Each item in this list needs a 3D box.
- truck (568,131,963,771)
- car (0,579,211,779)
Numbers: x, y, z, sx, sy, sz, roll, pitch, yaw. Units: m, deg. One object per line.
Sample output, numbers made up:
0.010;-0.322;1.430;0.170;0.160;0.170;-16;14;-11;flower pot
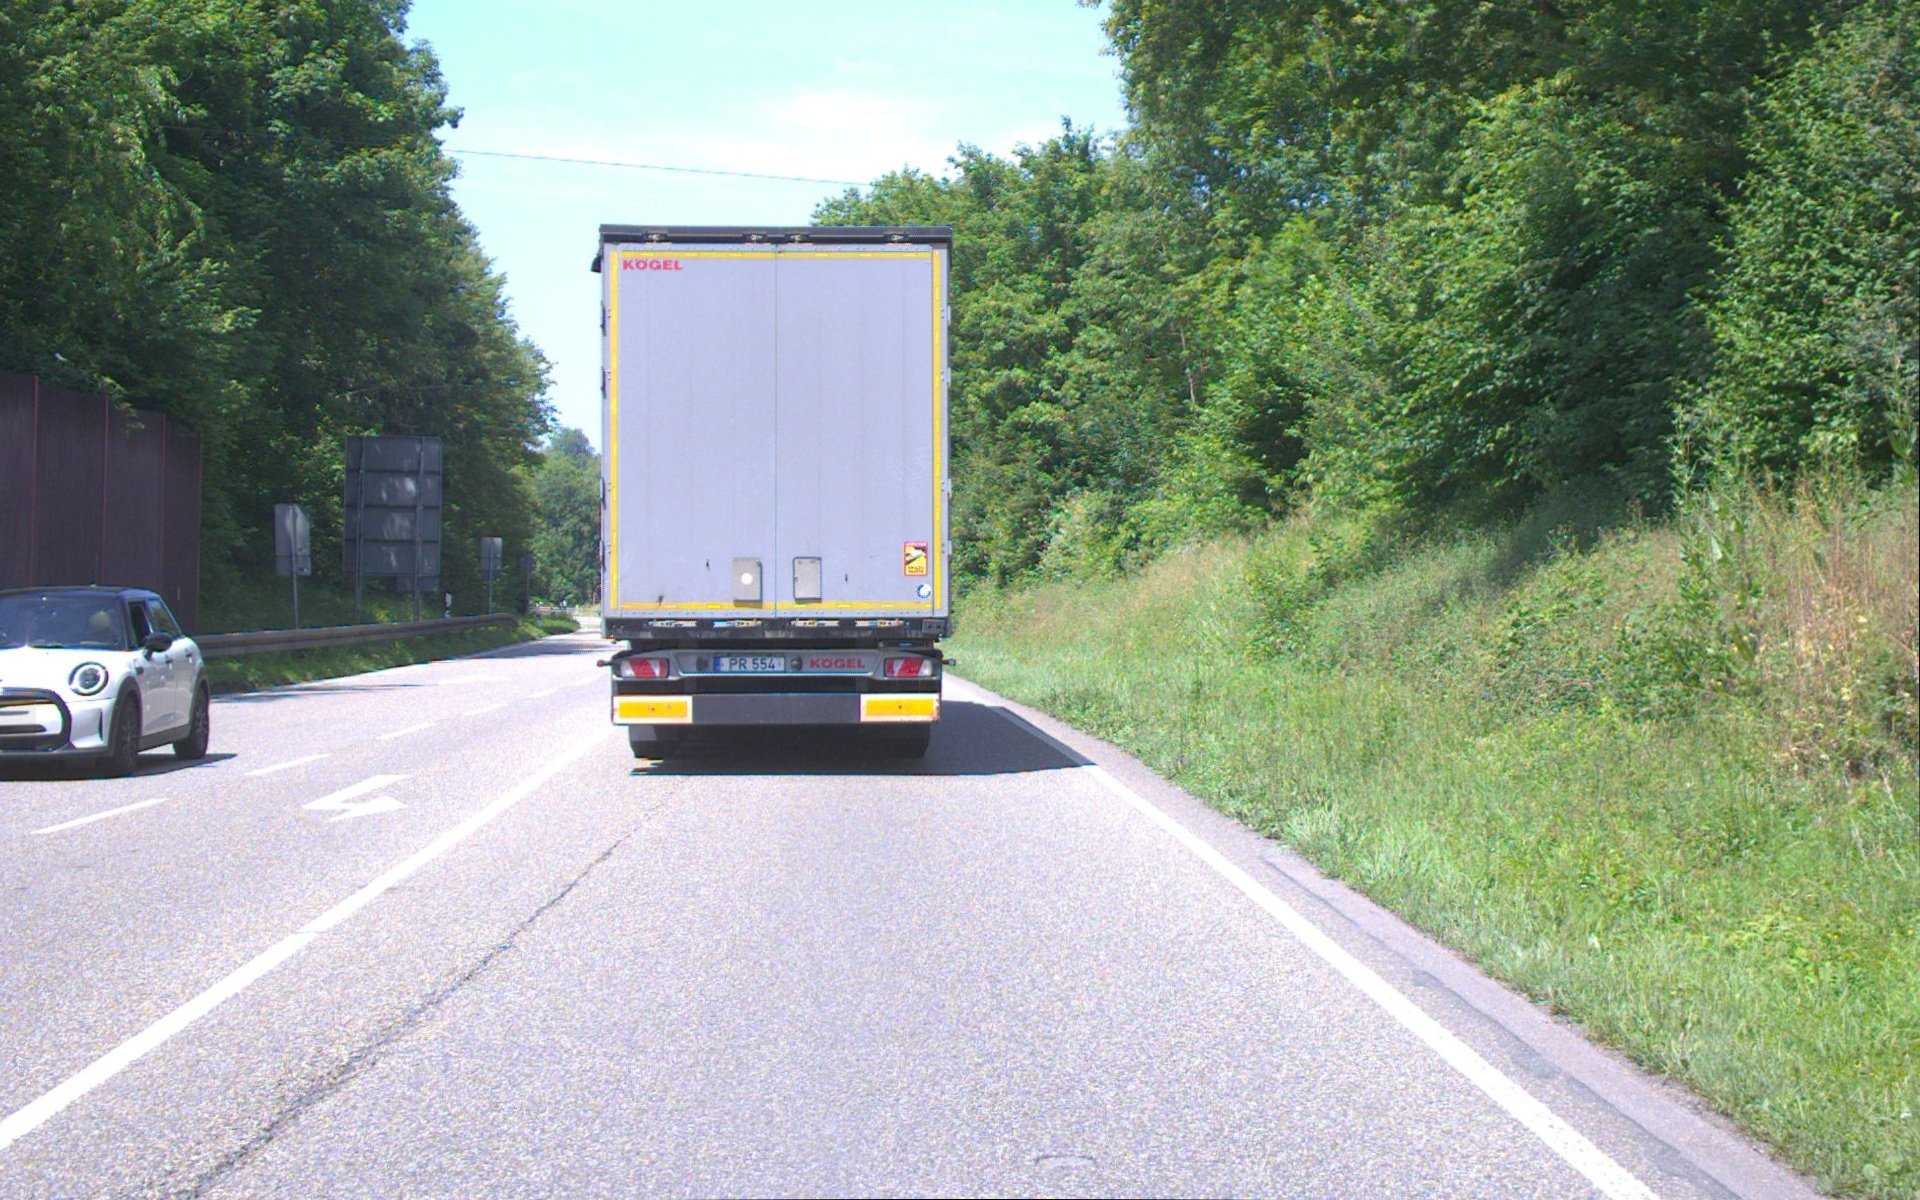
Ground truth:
-1.508;-1.142;28.109;2.822;4.588;6.666;0;1;-2;truck
-7.140;0.566;26.903;1.806;1.430;3.872;0;1;-2;car
